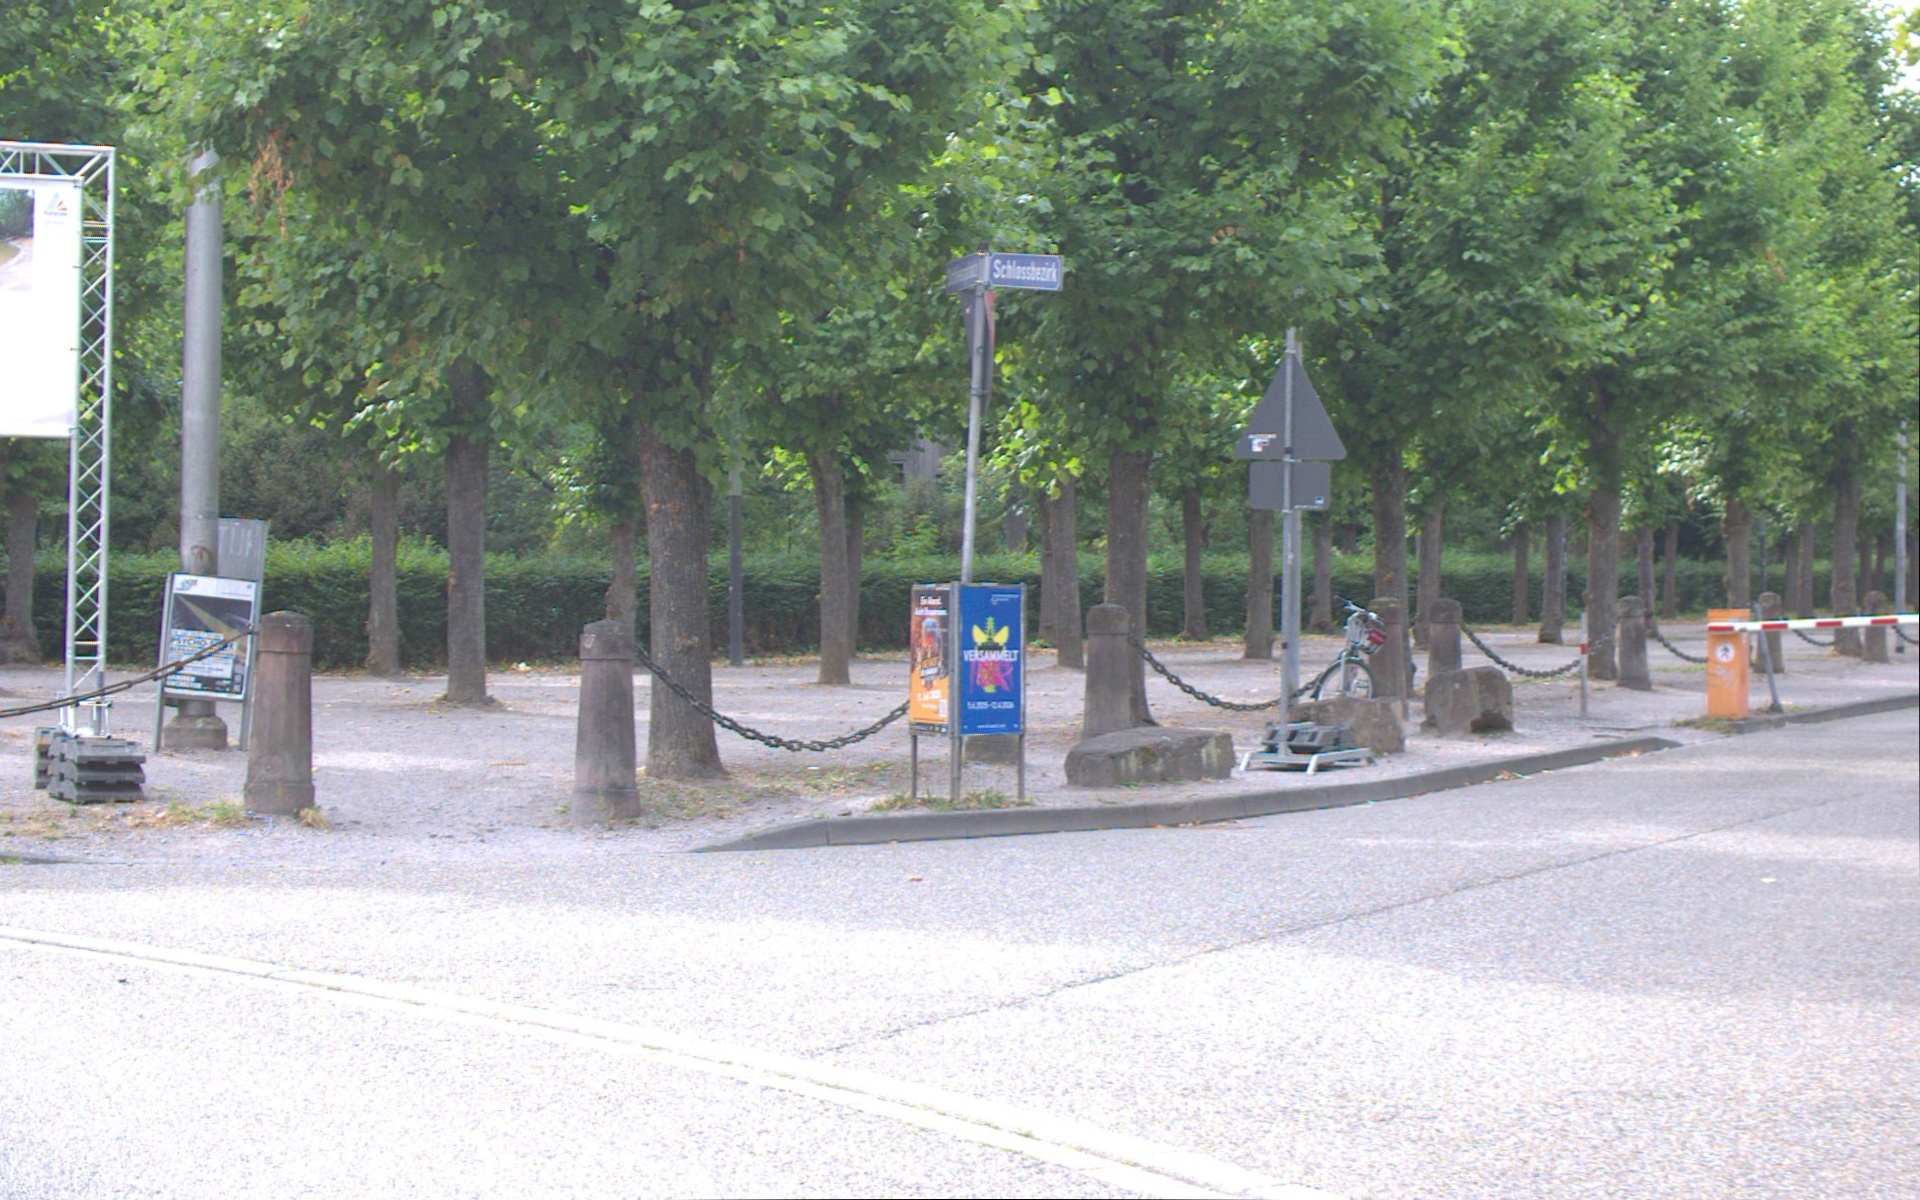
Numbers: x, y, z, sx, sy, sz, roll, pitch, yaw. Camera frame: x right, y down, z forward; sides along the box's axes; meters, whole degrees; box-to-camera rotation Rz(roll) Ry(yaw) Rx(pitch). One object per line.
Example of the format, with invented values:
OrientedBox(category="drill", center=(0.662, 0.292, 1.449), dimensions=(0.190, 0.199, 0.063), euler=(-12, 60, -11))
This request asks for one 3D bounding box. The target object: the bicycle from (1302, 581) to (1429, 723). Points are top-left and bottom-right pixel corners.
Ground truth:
OrientedBox(category="bicycle", center=(3.585, 0.428, 30.209), dimensions=(0.952, 1.106, 2.579), euler=(2, 2, 9))
